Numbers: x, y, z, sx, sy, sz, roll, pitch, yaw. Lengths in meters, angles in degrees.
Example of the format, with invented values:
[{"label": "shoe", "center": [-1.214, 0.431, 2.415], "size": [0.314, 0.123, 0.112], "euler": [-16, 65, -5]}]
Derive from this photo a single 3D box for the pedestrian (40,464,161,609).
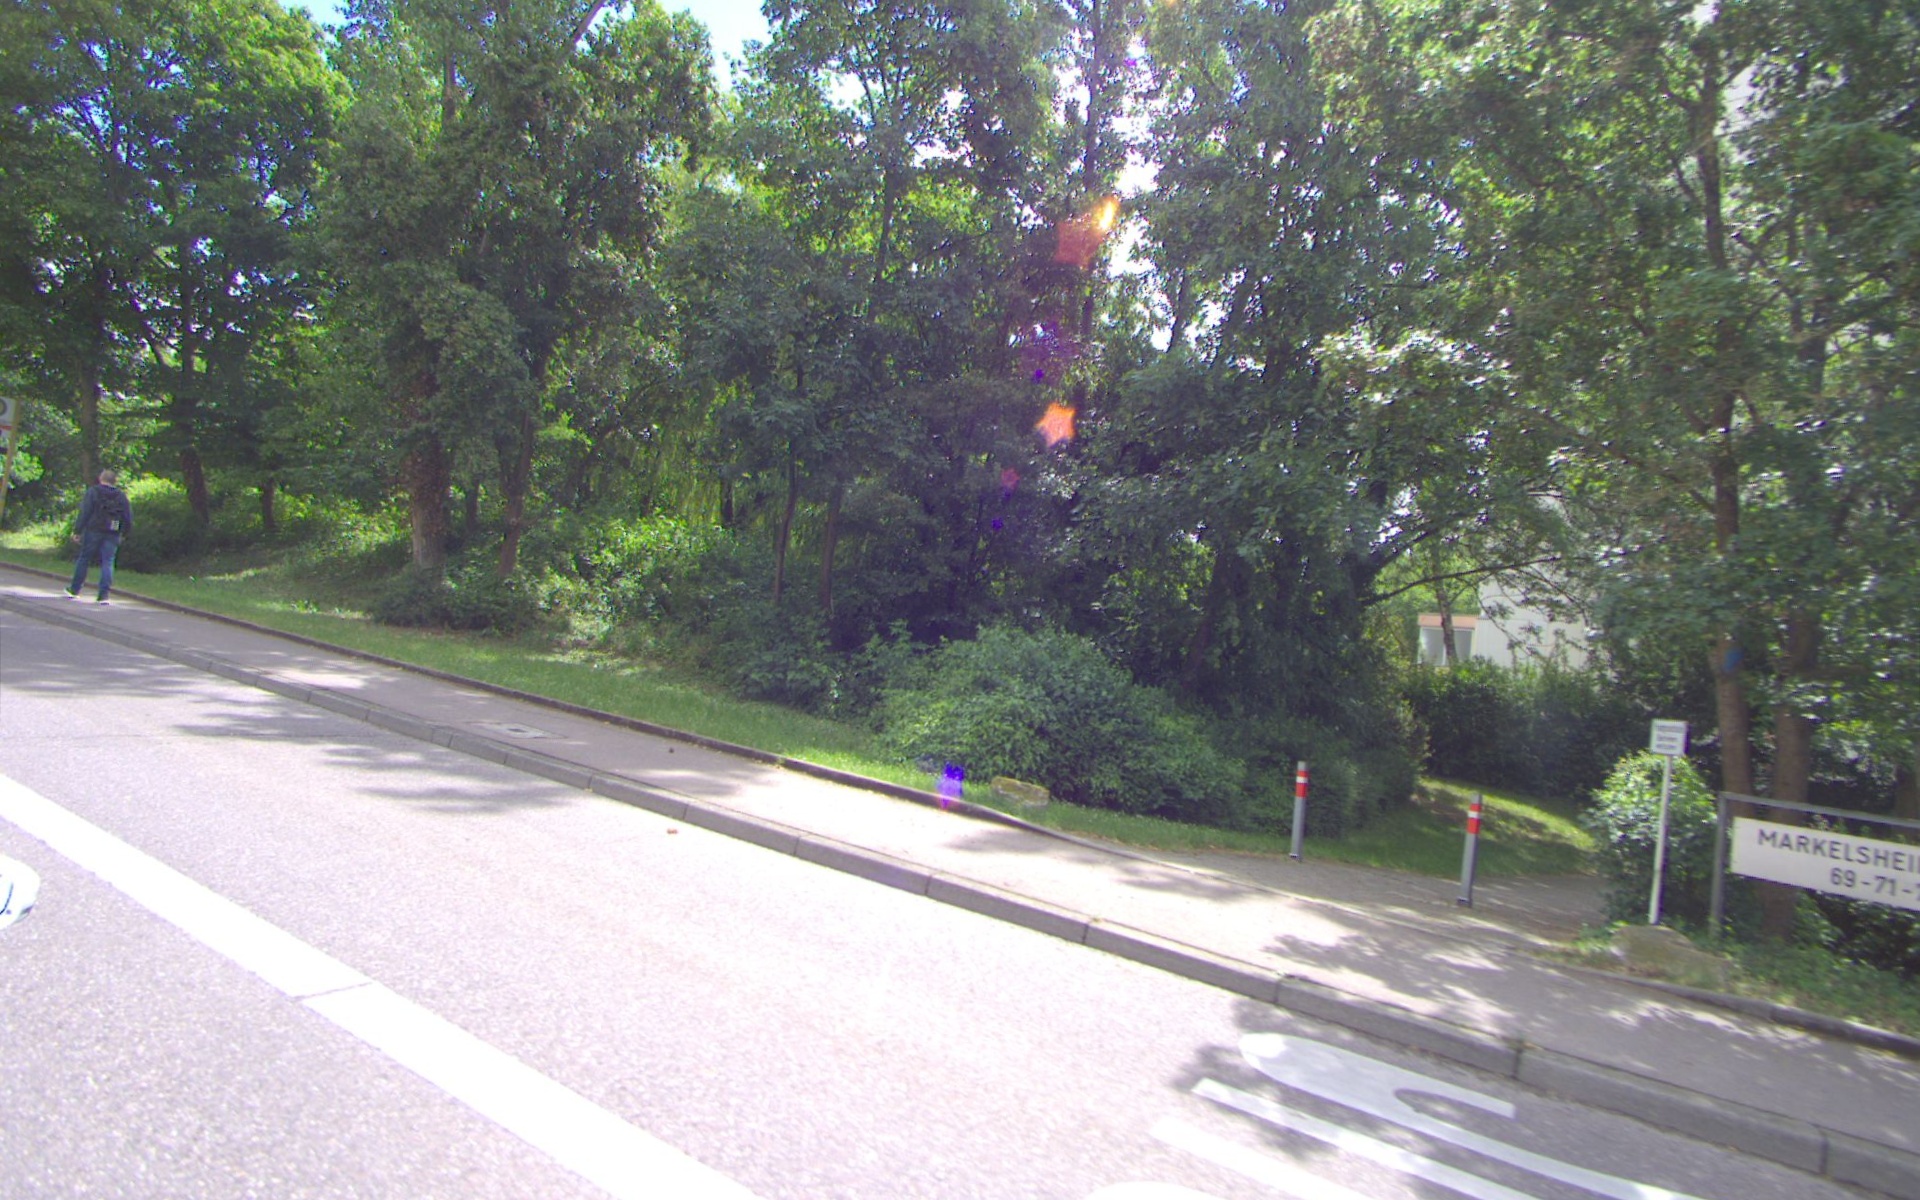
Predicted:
[{"label": "pedestrian", "center": [-12.503, -0.923, 14.636], "size": [1.249, 1.917, 0.803], "euler": [7, -2, 32]}]
